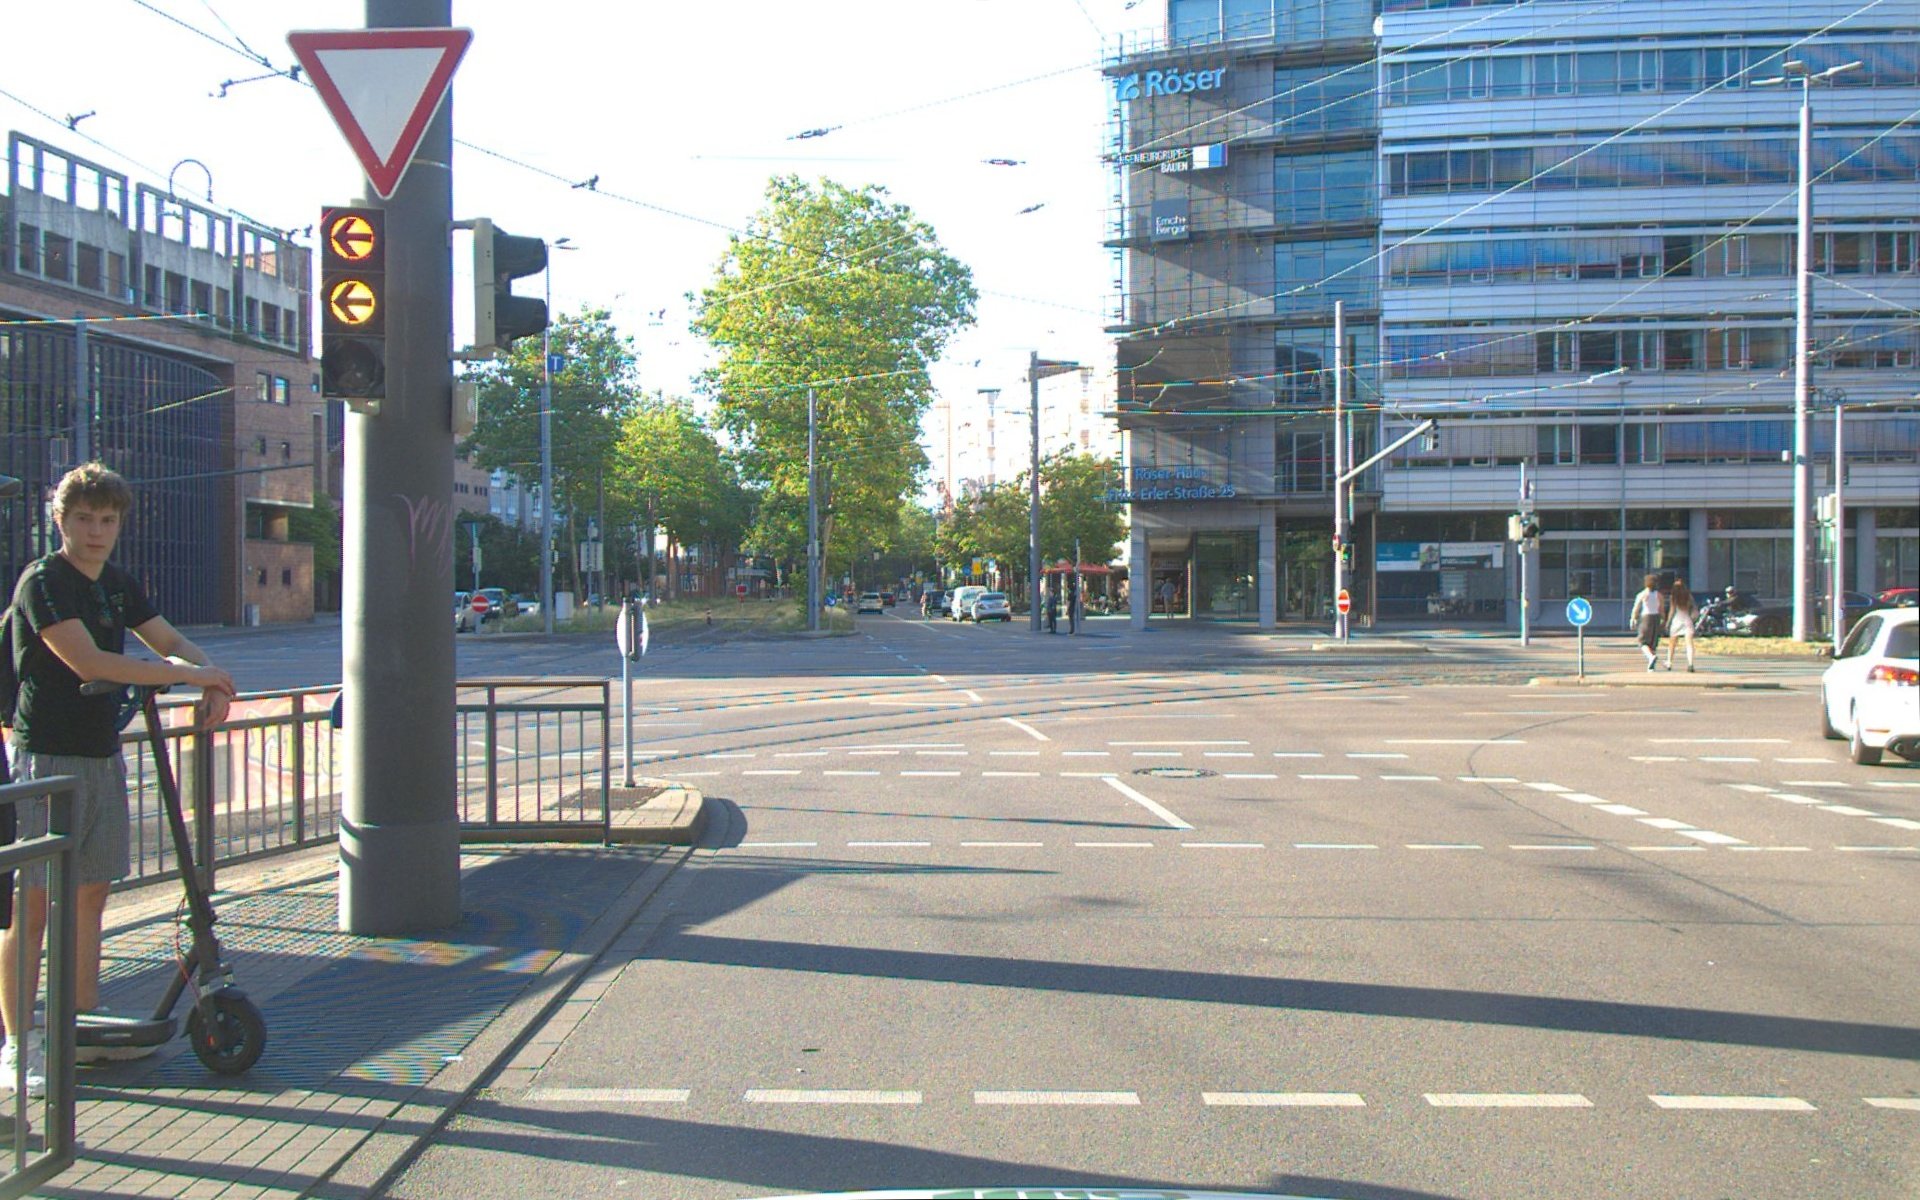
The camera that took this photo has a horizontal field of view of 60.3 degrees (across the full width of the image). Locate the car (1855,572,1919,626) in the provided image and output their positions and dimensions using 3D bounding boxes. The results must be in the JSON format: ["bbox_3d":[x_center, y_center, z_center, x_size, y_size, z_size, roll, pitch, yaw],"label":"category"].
[{"bbox_3d":[29.233,0.008,49.505,3.903,1.579,1.798,1,0,4],"label":"car"}]

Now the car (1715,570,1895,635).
[{"bbox_3d":[24.068,0.070,47.226,4.165,1.753,1.885,-1,0,2],"label":"car"}]

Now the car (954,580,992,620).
[{"bbox_3d":[0.663,0.003,89.558,1.953,2.049,3.999,1,0,-1],"label":"car"}]

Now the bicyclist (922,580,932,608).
[{"bbox_3d":[-1.720,-0.302,85.702,0.477,1.464,0.615,1,0,-1],"label":"bicyclist"}]

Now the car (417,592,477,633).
[{"bbox_3d":[-20.740,0.483,66.967,1.591,1.604,3.994,-1,0,-7],"label":"car"}]

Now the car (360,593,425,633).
[{"bbox_3d":[-30.591,0.685,89.272,1.837,2.049,4.472,-1,0,2],"label":"car"}]

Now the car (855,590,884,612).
[{"bbox_3d":[-6.274,0.070,115.296,1.712,1.443,4.001,1,1,1],"label":"car"}]

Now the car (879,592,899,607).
[{"bbox_3d":[-6.906,-0.037,160.541,1.729,1.429,4.292,0,0,-5],"label":"car"}]

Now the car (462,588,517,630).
[{"bbox_3d":[-21.207,0.404,74.672,1.787,1.821,3.994,-1,0,-7],"label":"car"}]

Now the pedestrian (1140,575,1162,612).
[{"bbox_3d":[11.726,-0.375,101.574,1.285,2.228,1.171,1,-1,5],"label":"pedestrian"}]

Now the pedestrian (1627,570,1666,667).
[{"bbox_3d":[12.970,0.345,31.237,0.663,1.789,0.741,-1,0,23],"label":"pedestrian"}]

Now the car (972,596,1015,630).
[{"bbox_3d":[1.643,0.636,82.608,1.988,1.624,3.999,1,0,-1],"label":"car"}]

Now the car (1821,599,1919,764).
[{"bbox_3d":[9.623,0.726,16.321,1.601,1.453,3.986,1,0,22],"label":"car"}]

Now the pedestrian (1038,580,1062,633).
[{"bbox_3d":[3.492,0.241,64.386,0.832,2.049,0.707,1,-1,-2],"label":"pedestrian"}]

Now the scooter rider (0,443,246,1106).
[{"bbox_3d":[-2.632,0.503,5.075,0.554,1.885,0.680,-1,-2,4],"label":"scooter rider"}]

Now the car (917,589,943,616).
[{"bbox_3d":[-2.303,0.209,126.677,1.953,2.049,3.999,1,0,-1],"label":"car"}]

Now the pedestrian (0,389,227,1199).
[{"bbox_3d":[-2.664,0.484,4.237,1.143,1.917,0.854,-1,0,4],"label":"pedestrian"}]

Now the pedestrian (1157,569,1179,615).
[{"bbox_3d":[9.326,-0.364,74.124,0.852,2.049,0.793,1,-2,-1],"label":"pedestrian"}]

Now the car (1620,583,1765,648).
[{"bbox_3d":[24.257,0.509,54.855,3.906,2.049,2.000,1,0,-1],"label":"car"}]

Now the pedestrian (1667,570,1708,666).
[{"bbox_3d":[13.708,0.337,31.164,0.669,1.789,0.741,-1,0,25],"label":"pedestrian"}]

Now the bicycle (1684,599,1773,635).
[{"bbox_3d":[23.137,0.501,49.826,2.359,1.040,0.637,-1,0,4],"label":"bicycle"}]

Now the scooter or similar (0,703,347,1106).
[{"bbox_3d":[-2.591,0.892,5.049,1.177,1.100,0.648,-1,0,3],"label":"scooter or similar"}]

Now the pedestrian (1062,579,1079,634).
[{"bbox_3d":[4.173,0.235,62.496,0.574,2.049,0.620,1,-1,0],"label":"pedestrian"}]

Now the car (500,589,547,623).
[{"bbox_3d":[-21.710,0.290,82.395,1.644,1.635,3.994,1,0,-7],"label":"car"}]

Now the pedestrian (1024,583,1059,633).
[{"bbox_3d":[3.246,0.305,66.150,1.315,1.984,1.011,0,0,-1],"label":"pedestrian"}]

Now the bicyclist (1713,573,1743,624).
[{"bbox_3d":[23.135,-0.053,49.828,0.649,1.529,0.613,-1,0,4],"label":"bicyclist"}]

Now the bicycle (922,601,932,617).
[{"bbox_3d":[-1.723,0.460,85.791,0.481,0.802,1.861,1,0,-1],"label":"bicycle"}]
